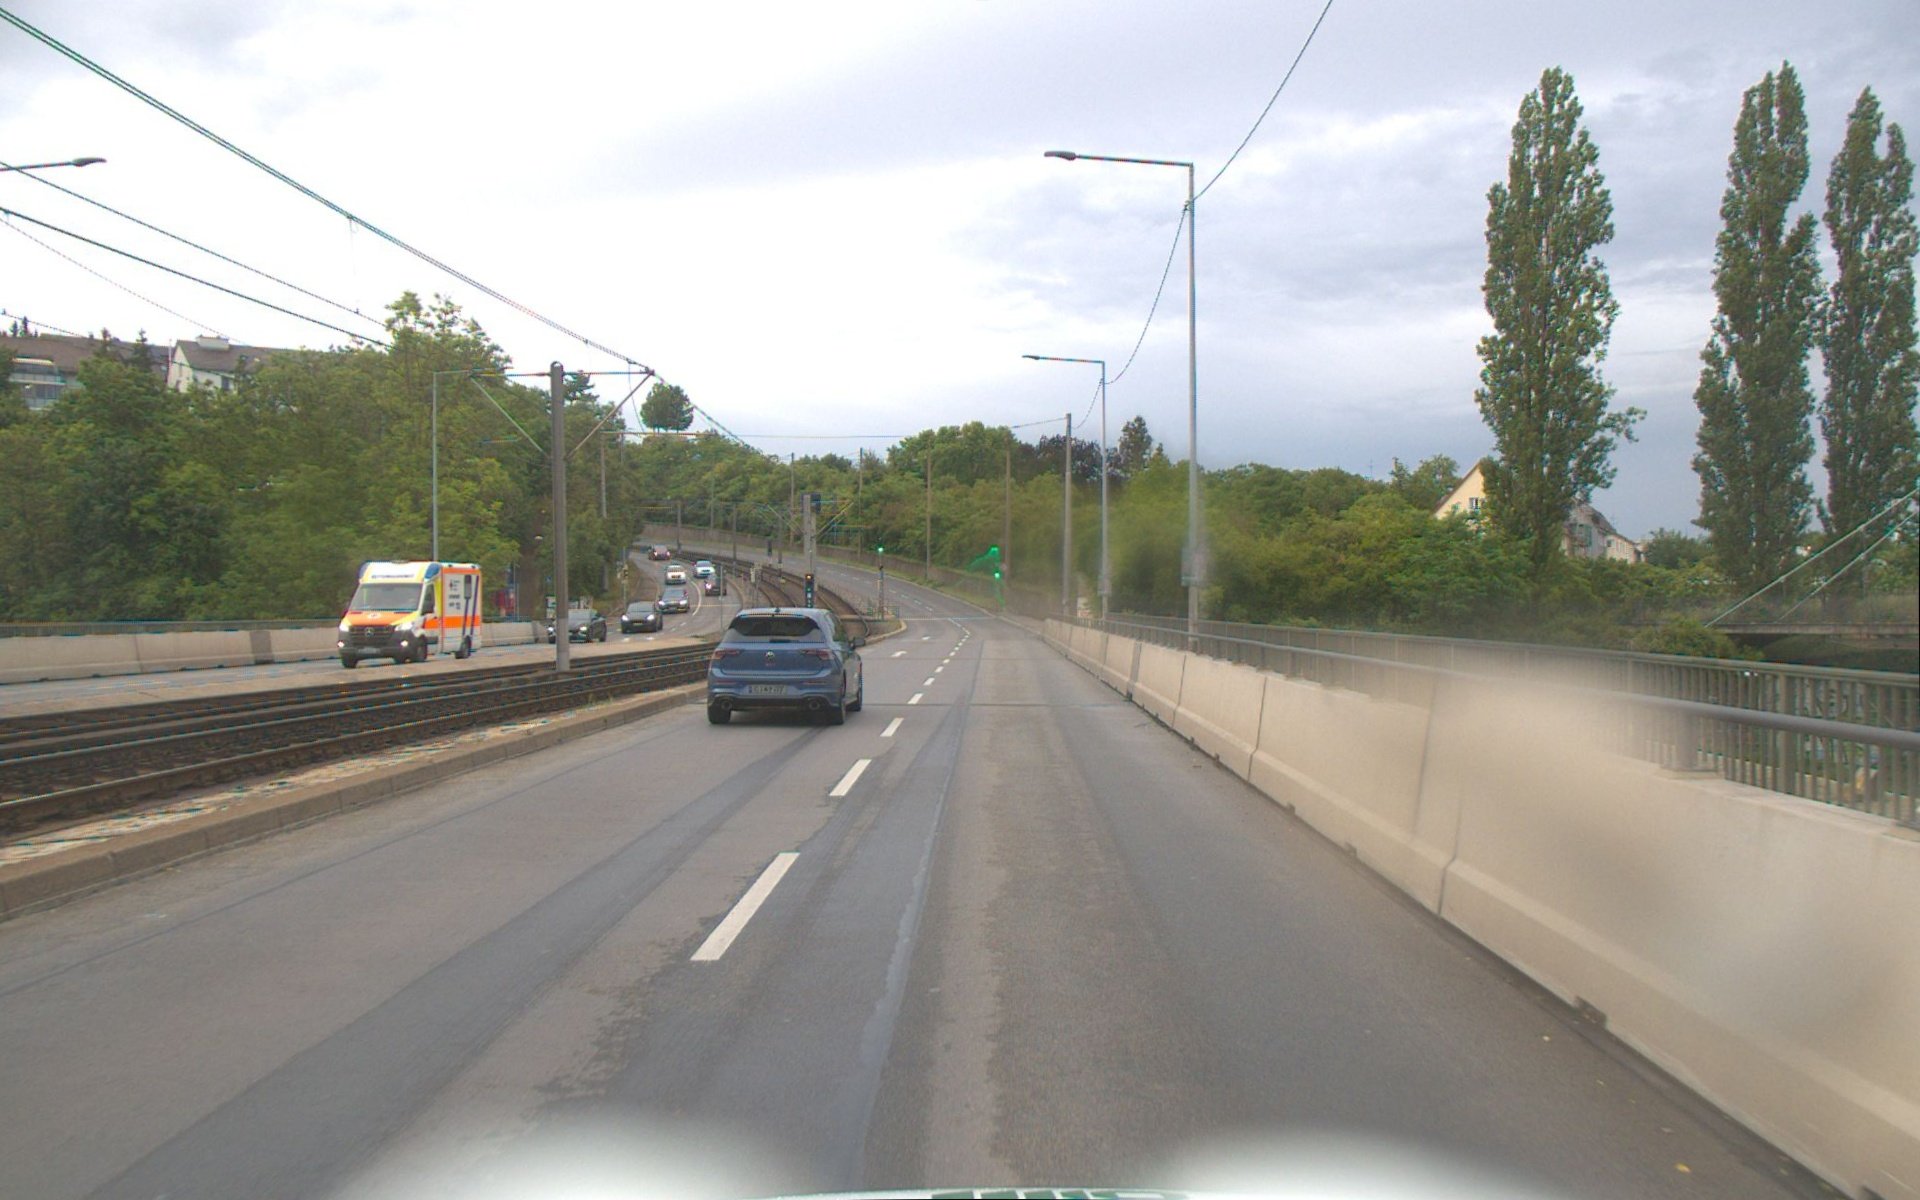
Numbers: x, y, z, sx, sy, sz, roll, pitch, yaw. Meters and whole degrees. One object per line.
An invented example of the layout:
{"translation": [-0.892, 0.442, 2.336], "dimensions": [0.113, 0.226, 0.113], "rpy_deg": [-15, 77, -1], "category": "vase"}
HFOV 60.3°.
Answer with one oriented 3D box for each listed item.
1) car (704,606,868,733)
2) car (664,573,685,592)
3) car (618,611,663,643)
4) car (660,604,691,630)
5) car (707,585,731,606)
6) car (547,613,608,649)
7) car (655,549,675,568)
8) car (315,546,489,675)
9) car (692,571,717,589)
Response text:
{"translation": [-2.230, 0.867, 22.155], "dimensions": [1.727, 1.527, 4.000], "rpy_deg": [0, -1, 0], "category": "car"}
{"translation": [-25.038, -1.508, 145.166], "dimensions": [1.788, 1.541, 4.518], "rpy_deg": [-1, -1, -10], "category": "car"}
{"translation": [-17.726, 1.499, 92.034], "dimensions": [1.859, 1.625, 4.728], "rpy_deg": [-2, 0, -4], "category": "car"}
{"translation": [-19.288, 1.177, 112.026], "dimensions": [1.934, 1.625, 5.169], "rpy_deg": [-1, -1, -11], "category": "car"}
{"translation": [-18.800, -0.374, 128.890], "dimensions": [1.573, 1.519, 3.008], "rpy_deg": [-2, 1, -13], "category": "car"}
{"translation": [-16.860, 1.338, 73.114], "dimensions": [1.780, 1.461, 4.738], "rpy_deg": [-1, 0, -3], "category": "car"}
{"translation": [-33.321, -4.721, 186.991], "dimensions": [1.817, 1.624, 4.718], "rpy_deg": [-3, 7, -15], "category": "car"}
{"translation": [-14.629, 0.283, 43.848], "dimensions": [2.340, 3.170, 6.357], "rpy_deg": [0, -1, 1], "category": "car"}
{"translation": [-23.645, -1.874, 153.060], "dimensions": [1.702, 1.462, 4.472], "rpy_deg": [-1, -1, -16], "category": "car"}
